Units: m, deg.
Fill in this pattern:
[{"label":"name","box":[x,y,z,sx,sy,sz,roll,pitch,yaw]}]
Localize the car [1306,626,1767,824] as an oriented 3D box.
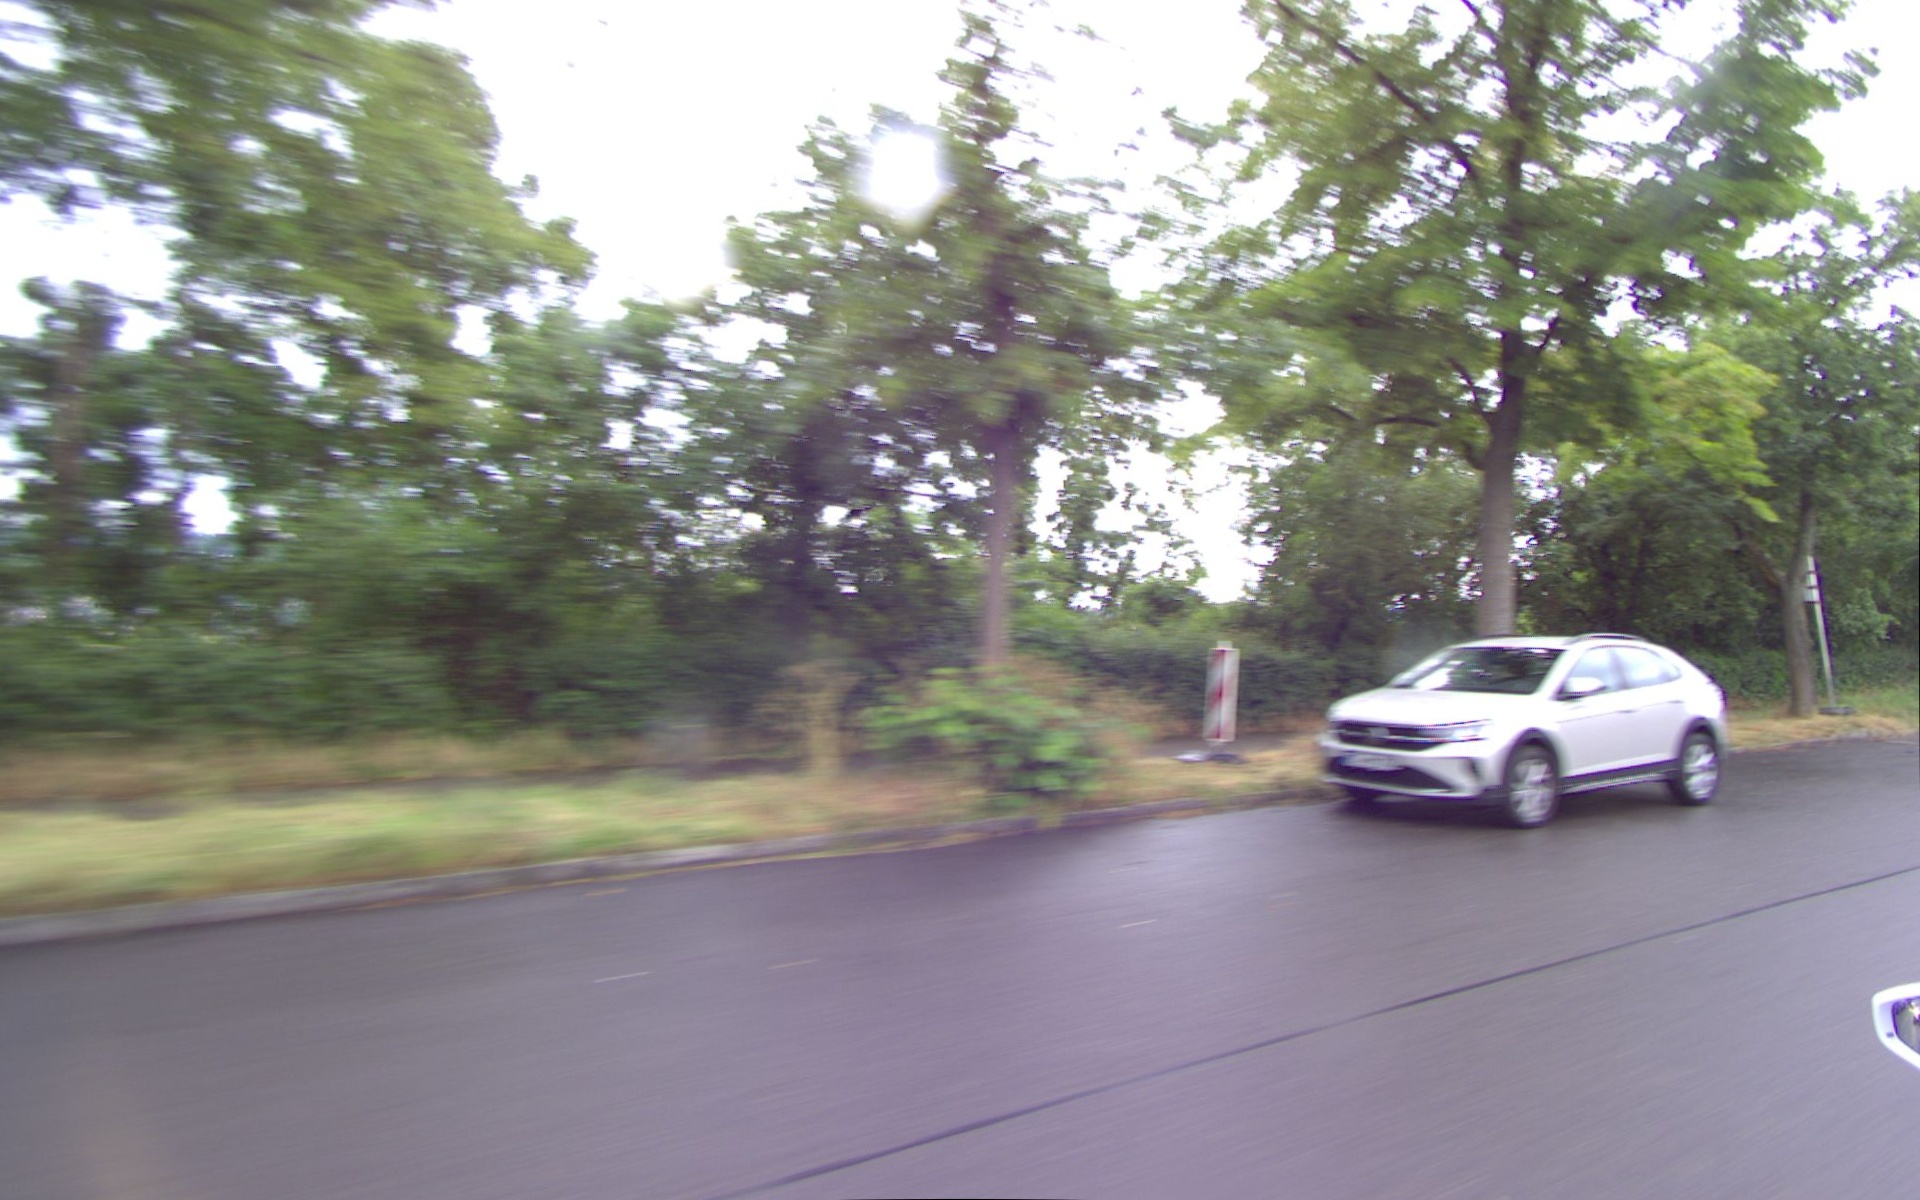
[{"label":"car","box":[5.304,1.019,9.153,4.203,1.456,1.682,2,-3,-28]}]
